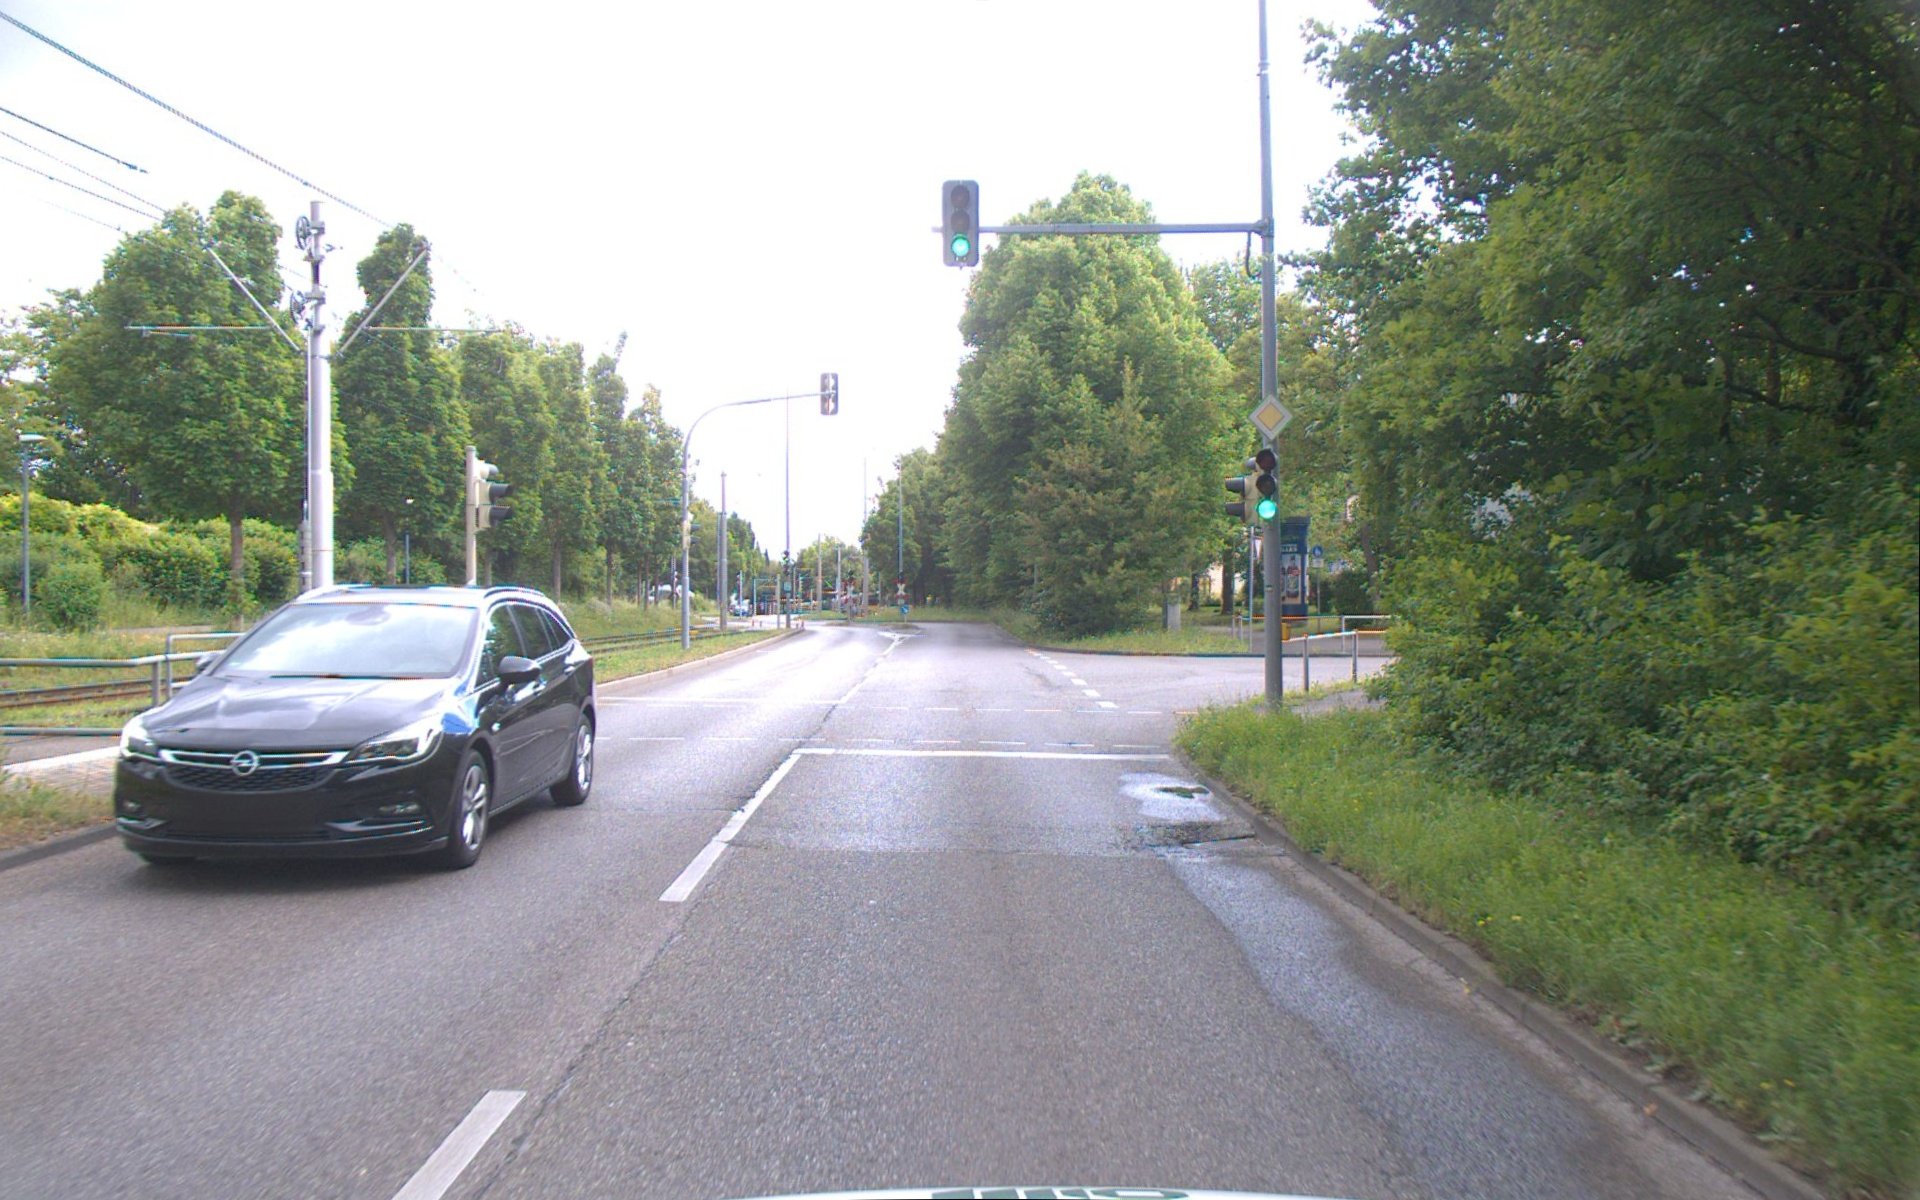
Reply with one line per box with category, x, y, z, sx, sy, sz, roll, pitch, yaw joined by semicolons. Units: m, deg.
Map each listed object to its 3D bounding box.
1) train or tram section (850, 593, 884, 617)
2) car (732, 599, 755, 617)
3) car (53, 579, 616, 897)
train or tram section;-14.354;0.752;252.066;2.950;3.369;34.655;1;0;-7
car;-20.209;0.742;154.520;1.830;1.547;4.236;1;1;-3
car;-3.417;0.640;9.994;1.812;1.496;4.255;1;1;-1
